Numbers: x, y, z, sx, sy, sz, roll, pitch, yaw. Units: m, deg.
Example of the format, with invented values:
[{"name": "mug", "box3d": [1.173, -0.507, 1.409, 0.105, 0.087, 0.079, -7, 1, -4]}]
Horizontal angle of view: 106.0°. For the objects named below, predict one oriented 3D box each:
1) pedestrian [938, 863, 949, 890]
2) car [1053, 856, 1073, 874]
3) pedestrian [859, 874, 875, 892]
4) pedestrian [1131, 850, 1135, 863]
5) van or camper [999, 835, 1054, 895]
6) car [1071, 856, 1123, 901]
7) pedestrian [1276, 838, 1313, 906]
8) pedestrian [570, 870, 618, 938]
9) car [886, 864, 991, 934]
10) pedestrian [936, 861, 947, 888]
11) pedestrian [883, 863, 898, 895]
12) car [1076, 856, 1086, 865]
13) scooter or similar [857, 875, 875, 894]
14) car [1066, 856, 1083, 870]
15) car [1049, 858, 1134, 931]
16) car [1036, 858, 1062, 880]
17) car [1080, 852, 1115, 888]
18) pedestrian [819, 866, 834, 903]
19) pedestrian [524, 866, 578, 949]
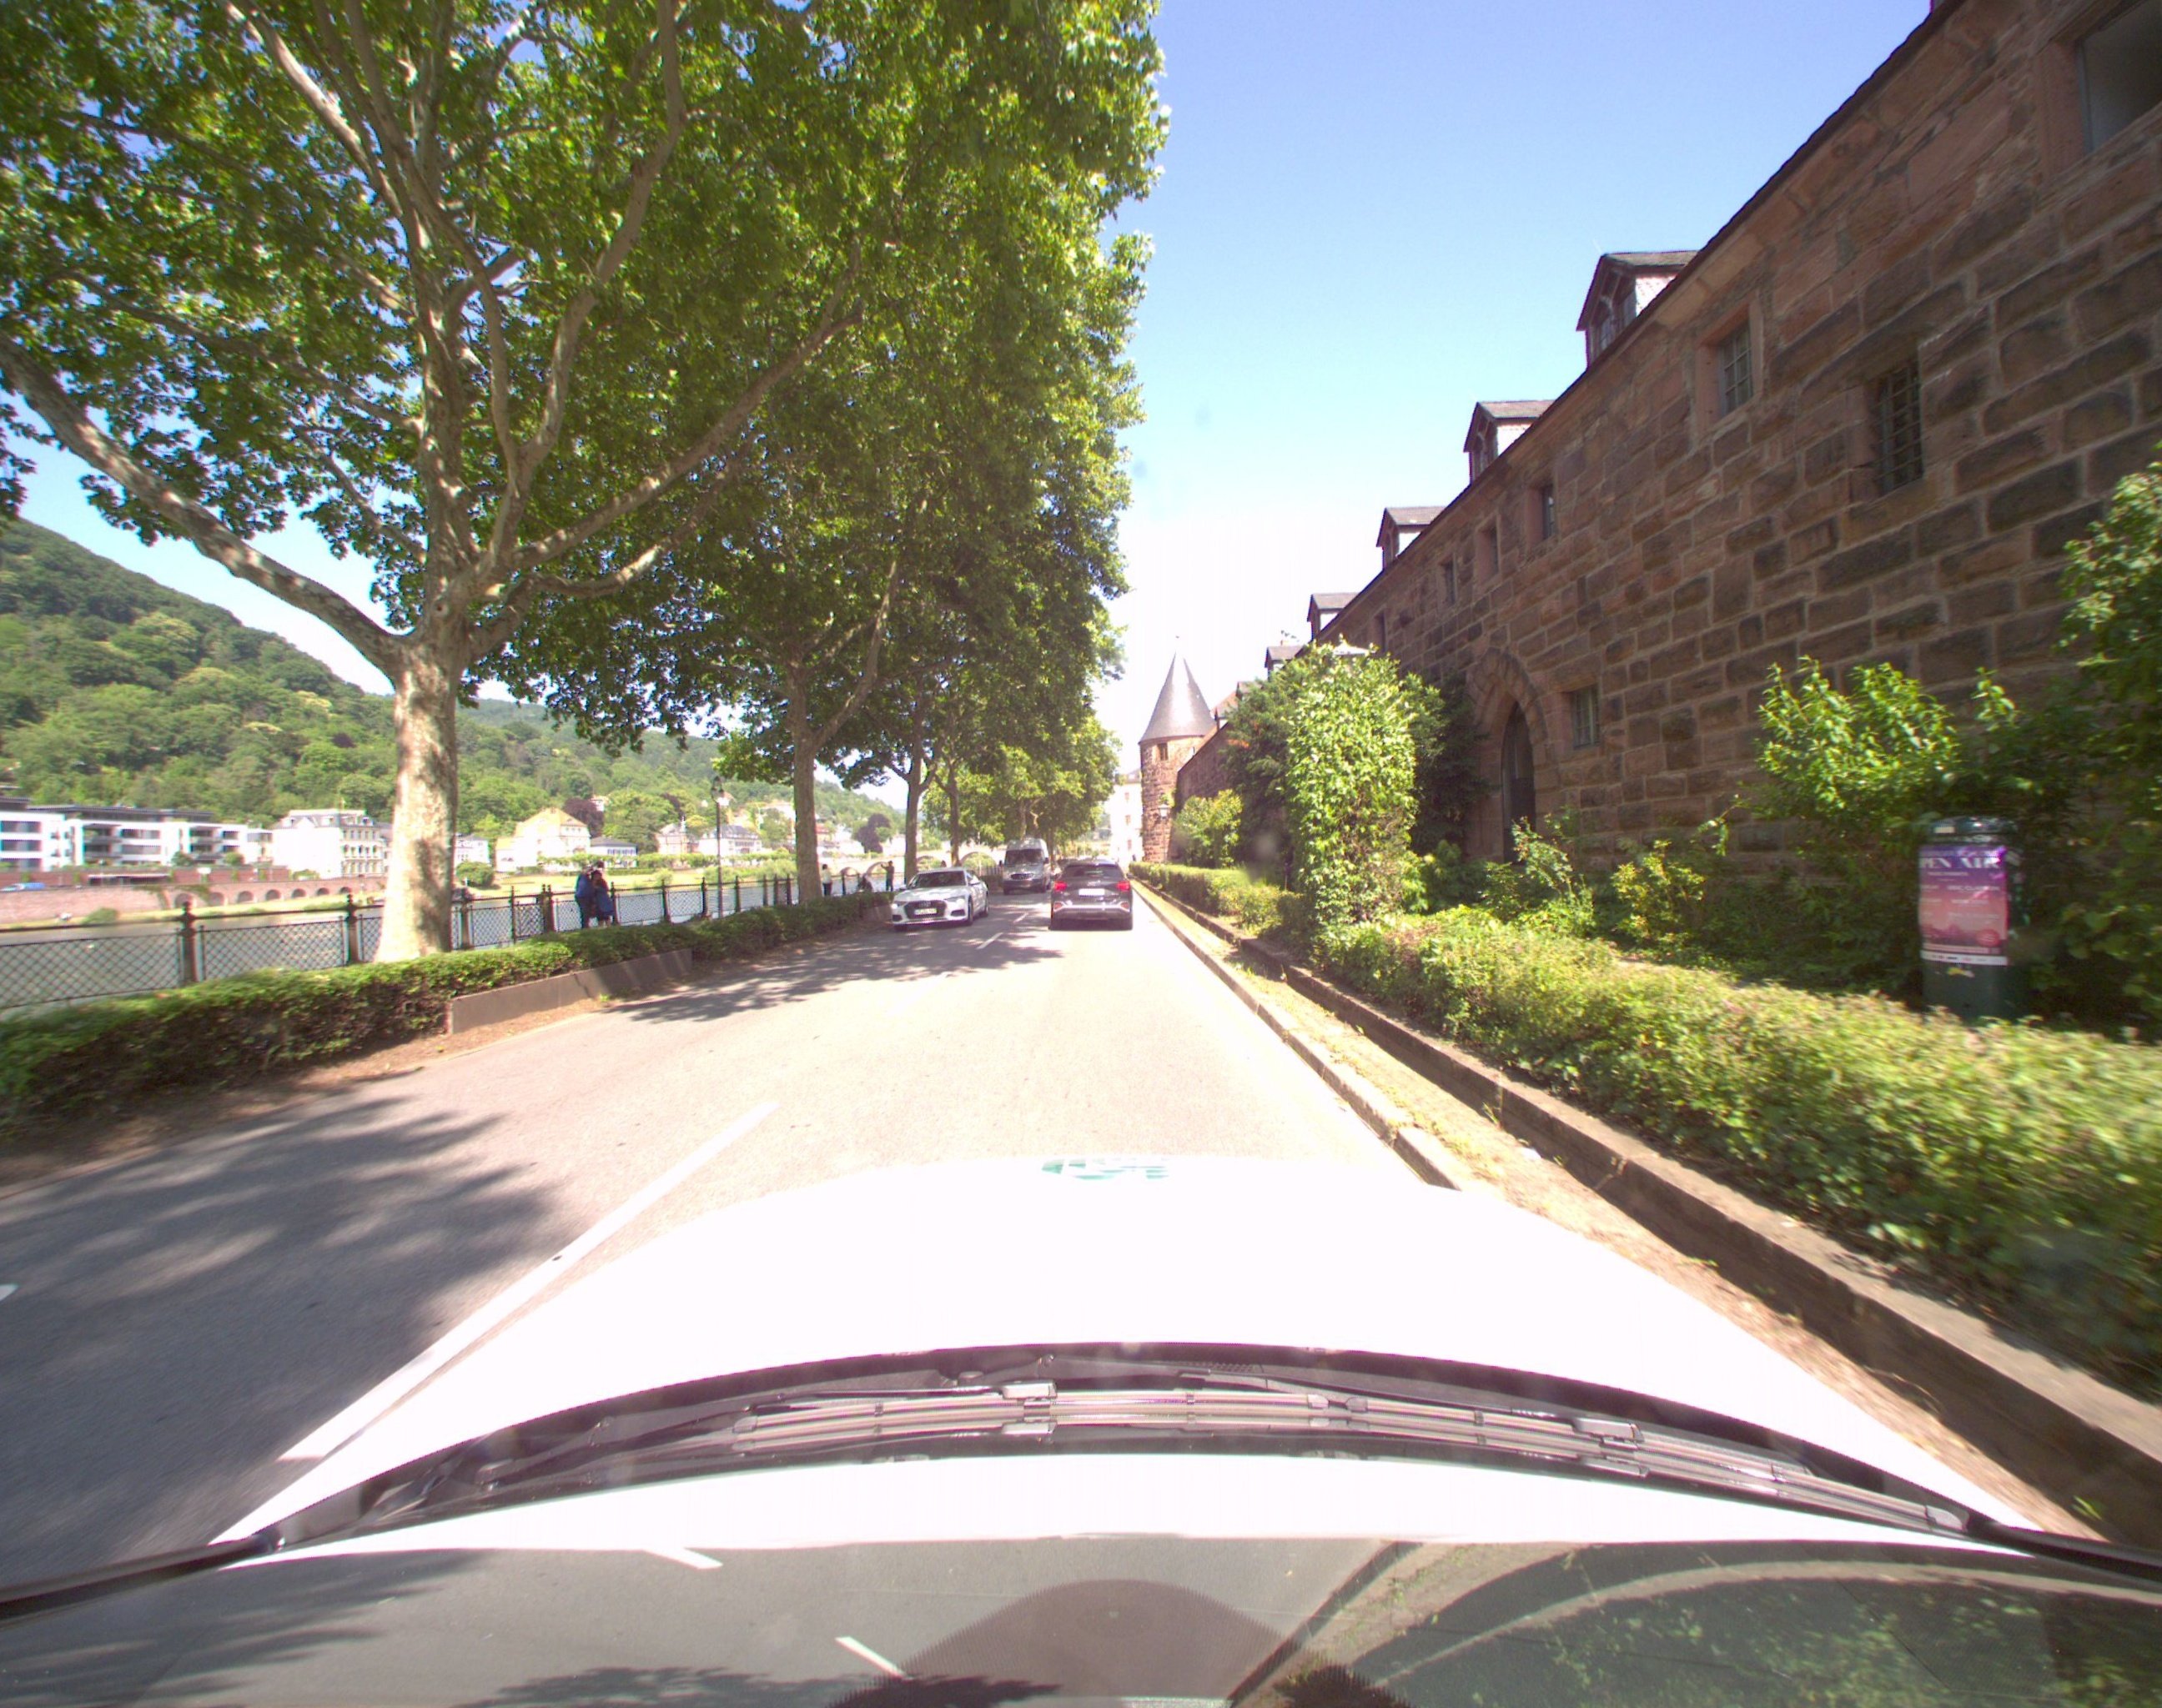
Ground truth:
[{"name": "pedestrian", "box3d": [-8.249, 1.342, 48.879, 0.455, 1.554, 0.586, -3, -1, 1]}, {"name": "car", "box3d": [-1.808, 1.071, 82.982, 1.870, 1.698, 4.259, -3, 0, 0]}, {"name": "pedestrian", "box3d": [-10.912, 1.479, 41.479, 0.605, 0.884, 0.705, -2, 0, 1]}, {"name": "pedestrian", "box3d": [6.993, 0.325, 109.539, 0.555, 1.633, 0.660, -1, -1, 2]}, {"name": "van or camper", "box3d": [-2.574, 0.508, 39.791, 1.954, 2.567, 5.842, -4, -1, 1]}, {"name": "car", "box3d": [0.671, 0.911, 31.823, 1.794, 1.562, 3.718, -3, 0, 2]}, {"name": "pedestrian", "box3d": [5.377, 0.454, 20.538, 0.695, 1.652, 0.705, -3, -1, 3]}, {"name": "pedestrian", "box3d": [-11.854, 1.197, 19.844, 0.701, 1.603, 0.705, -2, -1, 3]}, {"name": "car", "box3d": [-3.534, 1.067, 20.980, 1.763, 1.457, 4.534, -4, -1, 0]}, {"name": "pedestrian", "box3d": [-8.248, 1.204, 48.164, 0.456, 1.554, 0.586, -3, -1, 1]}, {"name": "pedestrian", "box3d": [-9.603, 1.240, 40.968, 0.642, 1.618, 0.458, 0, -1, -1]}, {"name": "car", "box3d": [0.015, 1.072, 138.283, 1.608, 1.523, 3.479, 0, -1, 3]}, {"name": "scooter or similar", "box3d": [-10.908, 1.538, 41.329, 0.629, 0.968, 1.012, -1, -1, 1]}, {"name": "car", "box3d": [-0.792, 1.176, 109.058, 1.755, 1.647, 4.096, -3, 0, 5]}, {"name": "car", "box3d": [0.228, 0.857, 18.676, 1.742, 1.494, 3.629, 0, 0, 0]}, {"name": "car", "box3d": [-2.382, 1.101, 60.773, 1.644, 1.469, 3.779, -3, 0, 1]}, {"name": "car", "box3d": [1.038, 0.956, 50.703, 1.986, 2.013, 4.001, -3, 0, 1]}, {"name": "pedestrian", "box3d": [-11.715, 1.393, 37.496, 0.582, 1.711, 0.403, 0, -1, -1]}, {"name": "pedestrian", "box3d": [-11.922, 1.188, 18.345, 0.701, 1.797, 0.705, -2, -1, 3]}]
